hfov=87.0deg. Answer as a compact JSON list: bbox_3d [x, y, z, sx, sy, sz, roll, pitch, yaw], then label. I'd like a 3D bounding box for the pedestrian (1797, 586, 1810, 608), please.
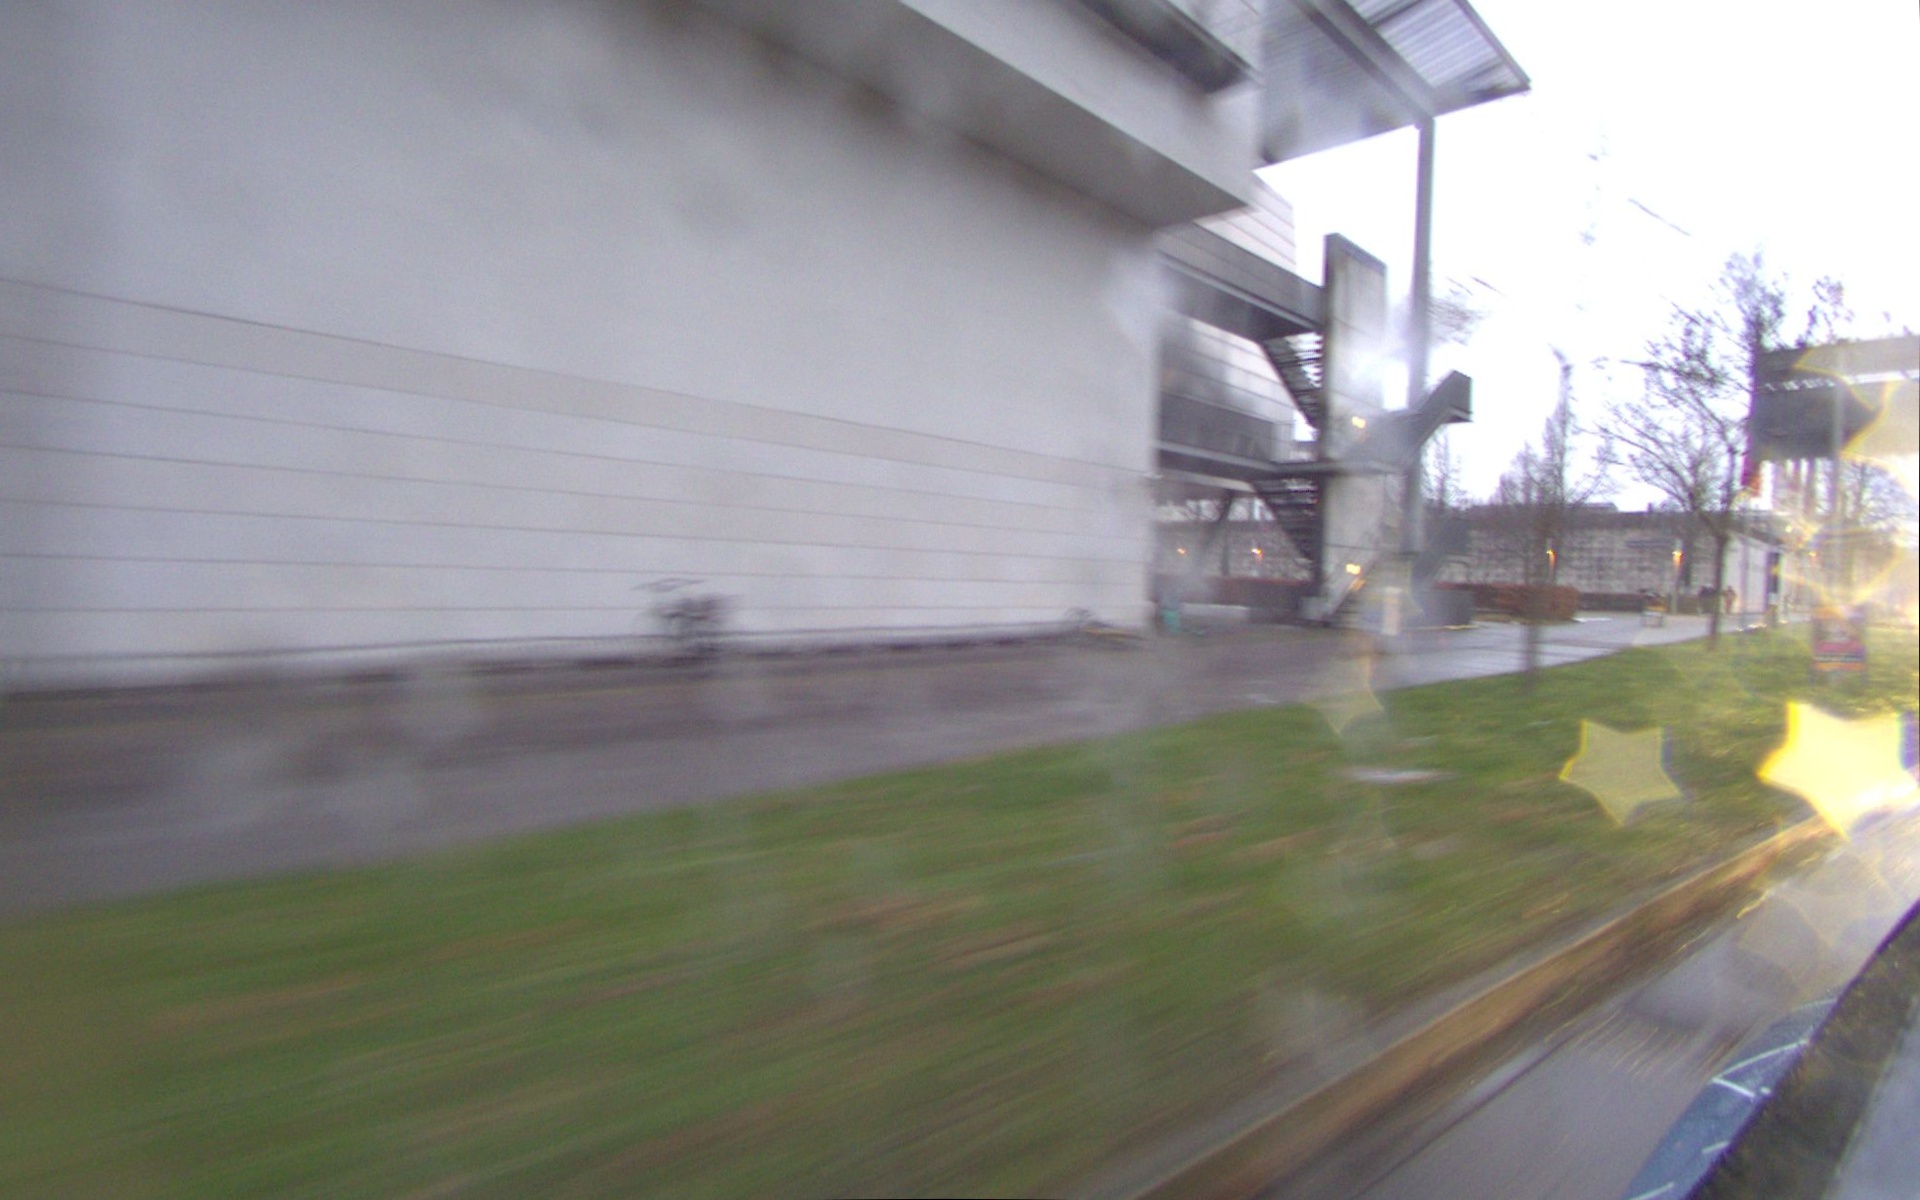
[{"bbox_3d":[64.687,-0.236,77.639,0.666,1.675,0.980,3,3,39],"label":"pedestrian"}]

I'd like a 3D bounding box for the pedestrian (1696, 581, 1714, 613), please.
[{"bbox_3d":[42.508,-0.185,57.735,0.602,1.800,0.675,0,0,-32],"label":"pedestrian"}]

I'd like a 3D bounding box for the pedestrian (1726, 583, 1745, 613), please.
[{"bbox_3d":[42.427,-0.094,55.359,0.602,1.632,0.675,0,0,-31],"label":"pedestrian"}]

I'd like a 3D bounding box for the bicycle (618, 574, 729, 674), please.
[{"bbox_3d":[-3.462,0.253,12.144,1.809,1.064,0.390,4,2,43],"label":"bicycle"}]

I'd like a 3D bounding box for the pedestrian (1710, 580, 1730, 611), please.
[{"bbox_3d":[40.742,-0.224,54.255,0.602,1.645,0.675,0,0,-30],"label":"pedestrian"}]

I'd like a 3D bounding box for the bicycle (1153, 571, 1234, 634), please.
[{"bbox_3d":[4.988,0.047,21.576,1.707,1.301,0.412,0,0,-18],"label":"bicycle"}]
